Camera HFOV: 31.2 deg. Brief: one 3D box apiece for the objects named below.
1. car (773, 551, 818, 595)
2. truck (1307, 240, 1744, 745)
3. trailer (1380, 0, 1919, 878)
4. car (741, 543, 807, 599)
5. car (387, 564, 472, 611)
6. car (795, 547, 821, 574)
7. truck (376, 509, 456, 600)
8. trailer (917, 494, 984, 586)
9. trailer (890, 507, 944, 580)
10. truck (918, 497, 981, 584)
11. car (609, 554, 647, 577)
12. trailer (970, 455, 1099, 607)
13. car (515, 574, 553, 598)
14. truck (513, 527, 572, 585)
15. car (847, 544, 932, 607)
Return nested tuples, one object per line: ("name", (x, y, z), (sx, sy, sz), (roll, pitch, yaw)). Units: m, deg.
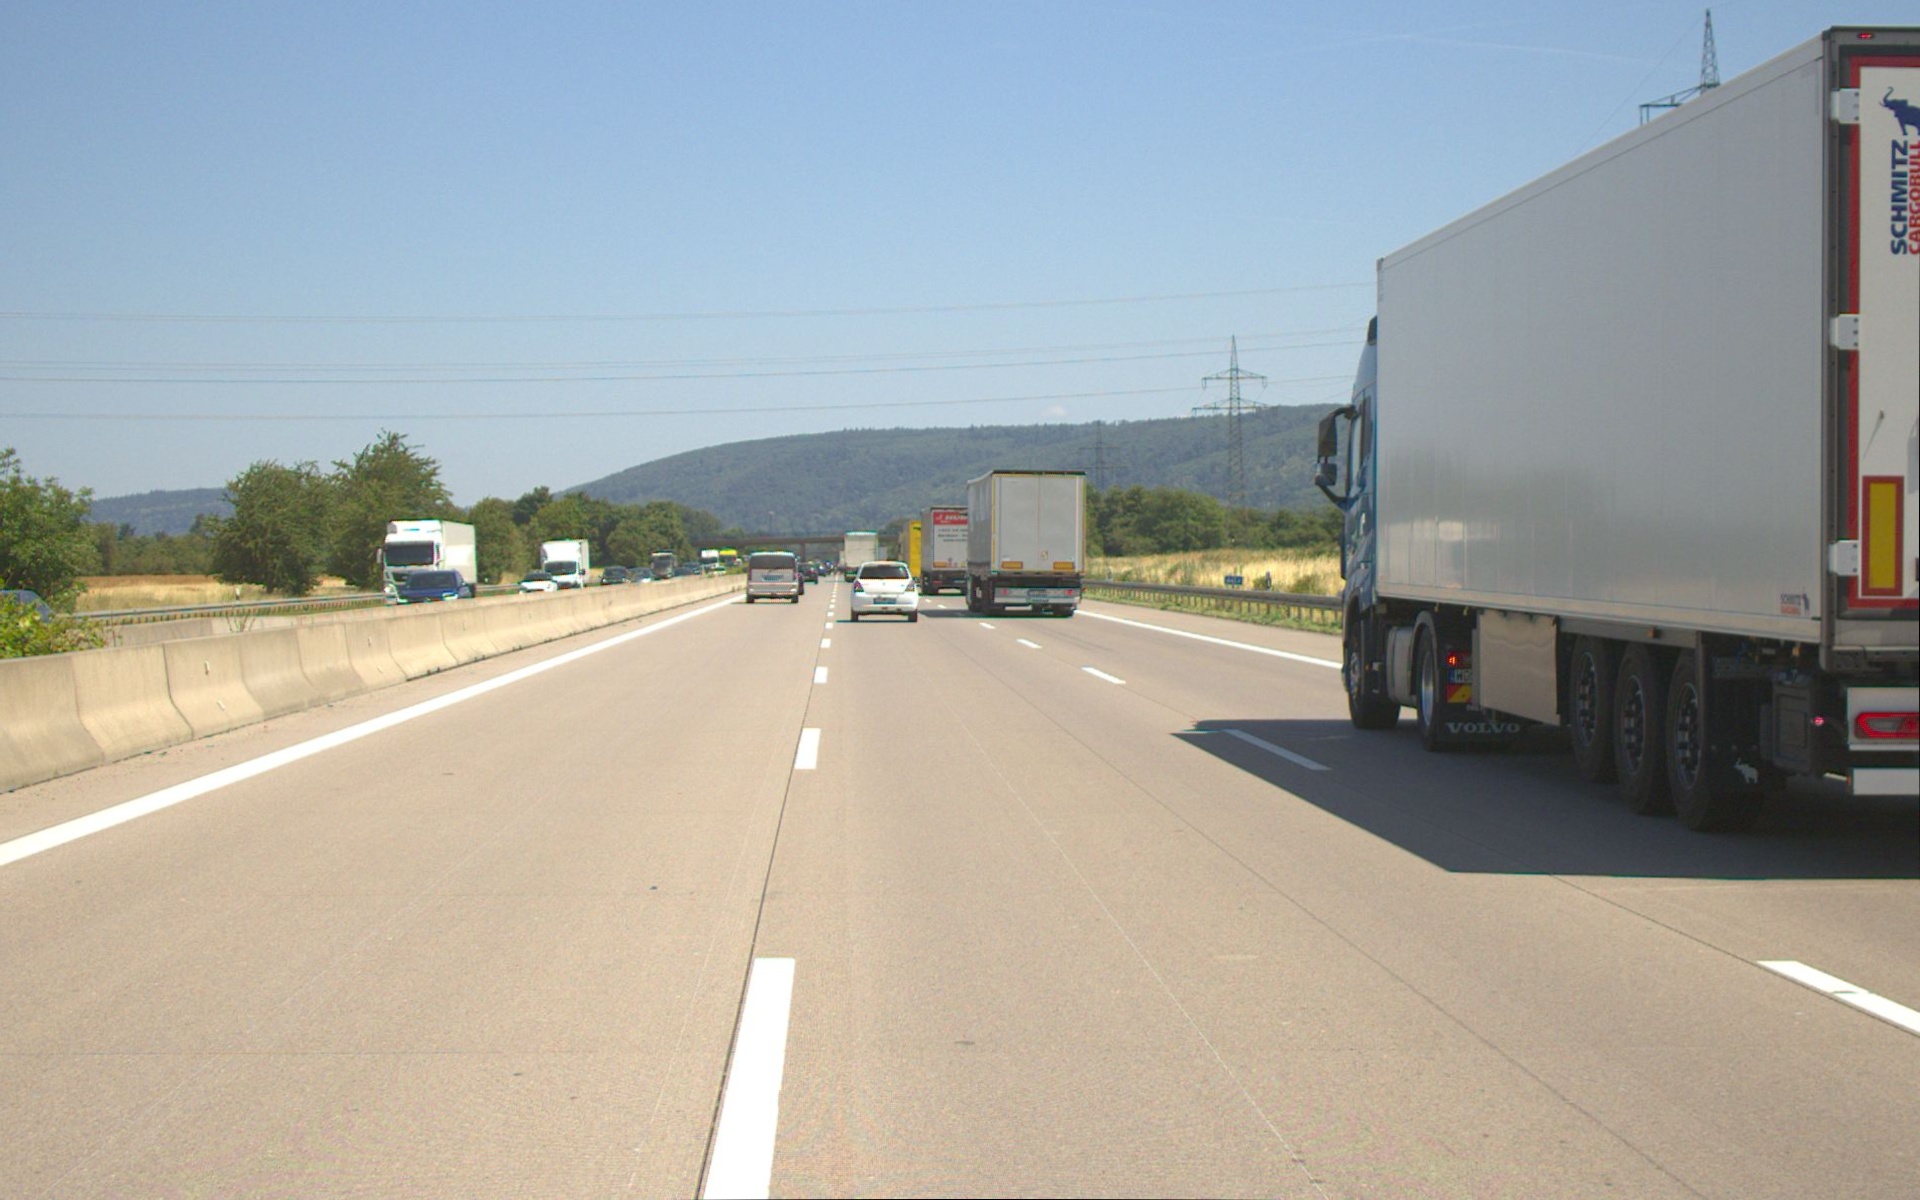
("car", (-7.616, -1.254, 159.114), (1.993, 1.950, 4.000), (1, 1, -2))
("truck", (4.833, -0.891, 30.421), (2.750, 4.030, 5.466), (1, 1, -2))
("trailer", (5.088, -0.798, 22.275), (2.708, 4.030, 12.903), (1, 1, -2))
("car", (-6.836, -1.071, 126.492), (2.254, 2.007, 4.298), (1, 1, -1))
("car", (-14.690, -0.358, 95.363), (1.771, 1.236, 4.677), (1, 1, -2))
("car", (-10.605, -2.739, 240.025), (1.783, 1.875, 4.000), (1, 1, -2))
("truck", (-24.701, -2.079, 156.235), (2.819, 4.030, 5.678), (1, 1, -1))
("trailer", (-0.516, -2.788, 161.146), (2.873, 4.086, 13.513), (1, 1, -1))
("trailer", (-2.863, -3.610, 222.490), (3.216, 4.548, 13.458), (1, 1, -2))
("truck", (-0.549, -2.850, 166.600), (2.905, 4.087, 6.272), (1, 1, -1))
("car", (-19.829, -2.071, 205.387), (1.846, 1.347, 4.494), (-1, 1, -1))
("trailer", (2.026, -1.939, 99.642), (3.018, 4.047, 14.208), (1, 1, -1))
("car", (-21.501, -0.722, 173.798), (1.680, 1.142, 4.399), (0, 1, -4))
("truck", (-22.866, -2.401, 188.527), (2.547, 3.131, 7.924), (0, 1, -2))
("car", (-1.775, -0.625, 87.391), (2.107, 1.531, 4.122), (1, 1, -1))
